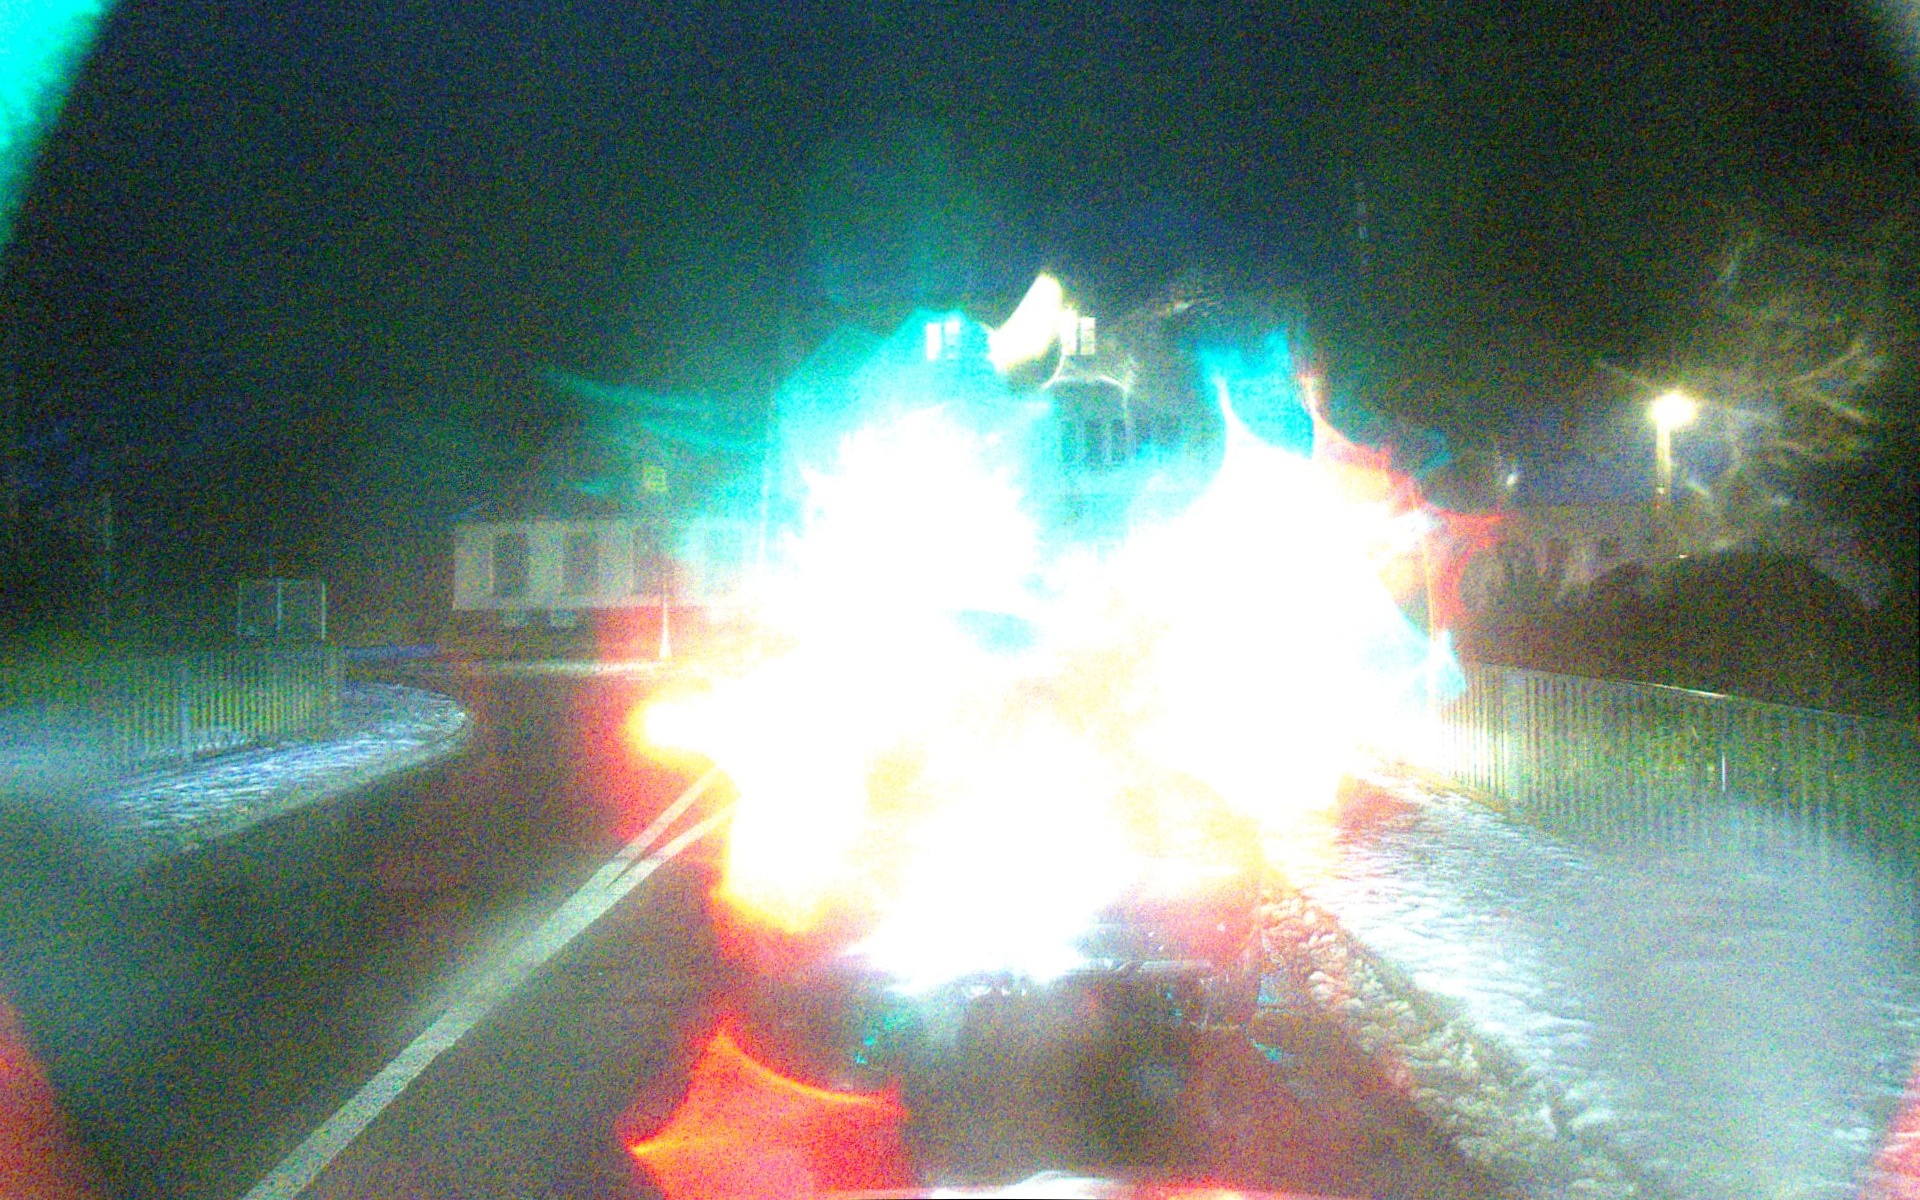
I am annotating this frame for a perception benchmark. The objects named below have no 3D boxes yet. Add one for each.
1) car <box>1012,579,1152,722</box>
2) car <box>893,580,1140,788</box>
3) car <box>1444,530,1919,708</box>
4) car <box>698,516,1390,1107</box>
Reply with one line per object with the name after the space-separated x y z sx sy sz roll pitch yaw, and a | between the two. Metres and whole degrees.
2.055 0.719 26.727 1.733 1.980 4.258 4 2 10 | car
0.437 0.634 15.099 1.871 1.536 4.241 -3 1 0 | car
7.679 0.193 18.029 4.372 1.613 1.941 -3 1 10 | car
0.226 0.630 6.969 2.016 1.707 4.138 1 0 -1 | car
